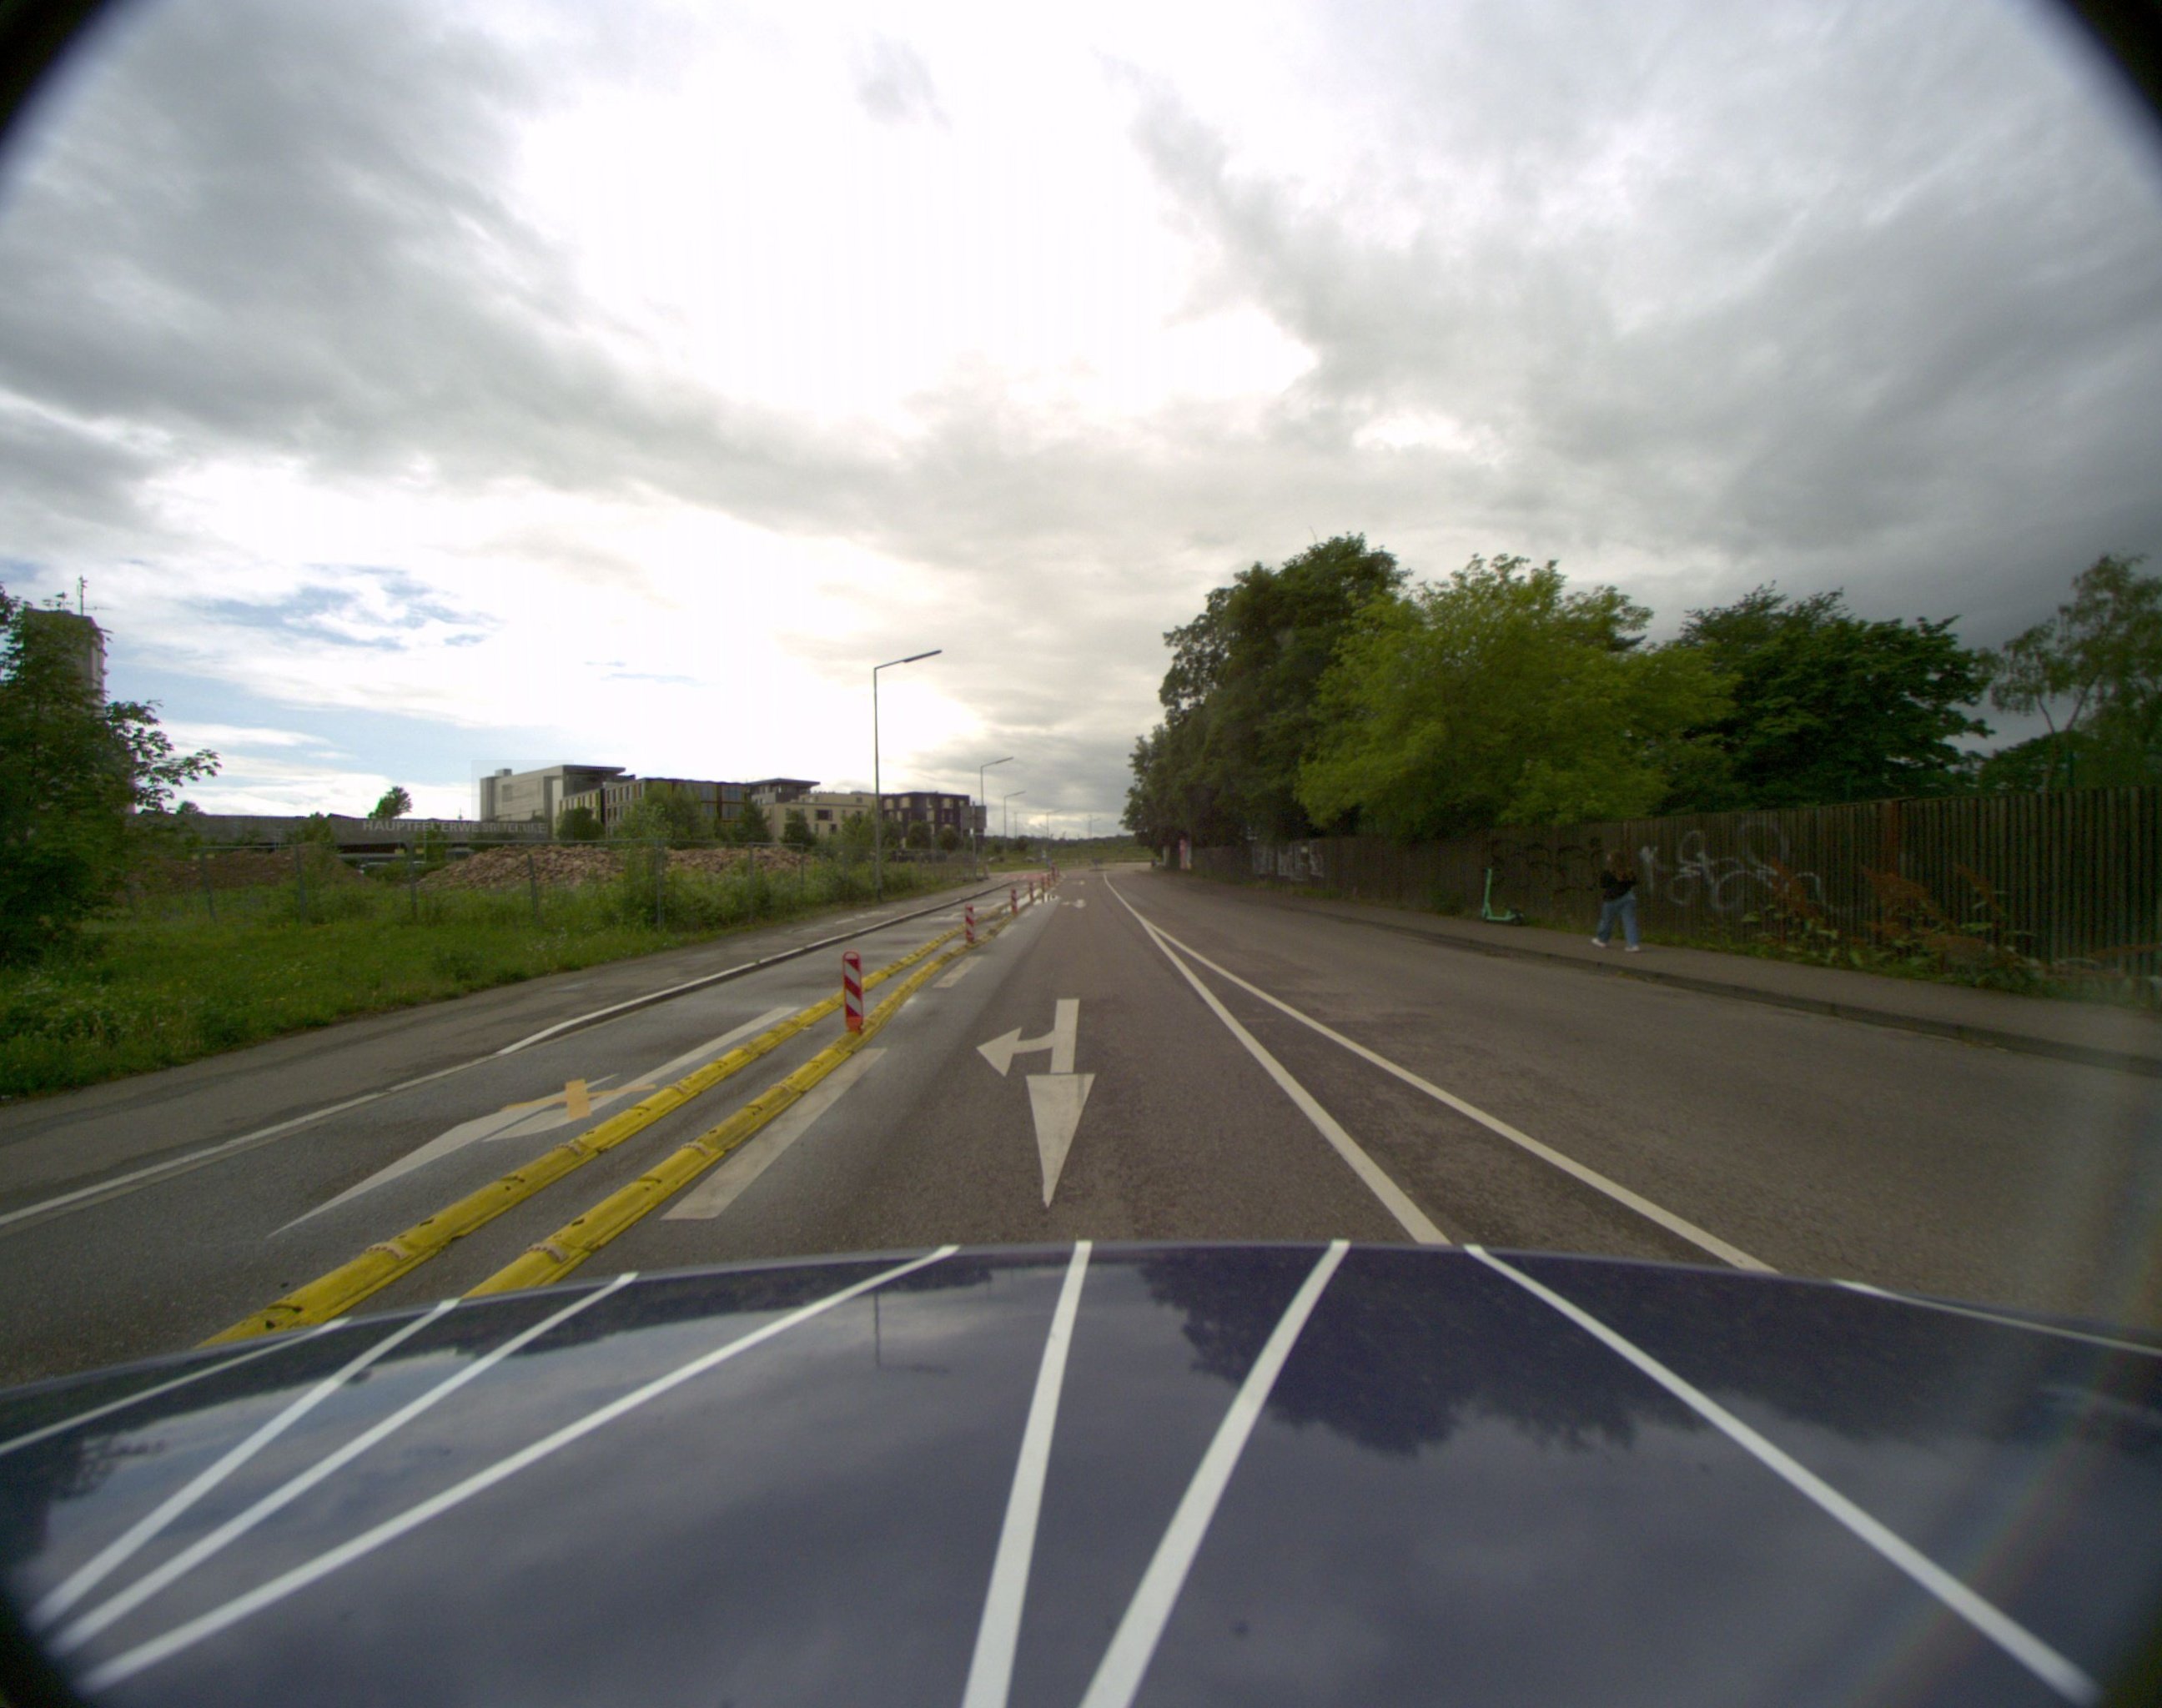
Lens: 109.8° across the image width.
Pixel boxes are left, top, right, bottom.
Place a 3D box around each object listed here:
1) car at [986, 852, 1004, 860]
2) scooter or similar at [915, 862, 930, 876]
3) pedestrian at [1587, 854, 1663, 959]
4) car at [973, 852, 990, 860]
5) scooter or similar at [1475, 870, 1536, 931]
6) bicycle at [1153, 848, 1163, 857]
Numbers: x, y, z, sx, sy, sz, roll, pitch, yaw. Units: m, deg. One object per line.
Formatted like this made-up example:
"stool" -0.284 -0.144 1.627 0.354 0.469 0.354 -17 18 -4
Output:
"car" -21.375 0.479 189.278 1.994 2.002 4.008 0 0 42
"scooter or similar" -13.192 1.267 63.172 1.323 1.178 0.447 0 1 41
"pedestrian" 8.206 0.767 11.481 0.614 1.520 0.724 -1 1 -4
"car" -25.420 0.405 194.552 1.994 2.002 4.008 0 0 42
"scooter or similar" 8.613 0.923 15.456 0.424 1.164 1.303 -1 0 -5
"bicycle" 9.461 -0.183 93.306 0.582 0.992 1.773 -3 0 28
